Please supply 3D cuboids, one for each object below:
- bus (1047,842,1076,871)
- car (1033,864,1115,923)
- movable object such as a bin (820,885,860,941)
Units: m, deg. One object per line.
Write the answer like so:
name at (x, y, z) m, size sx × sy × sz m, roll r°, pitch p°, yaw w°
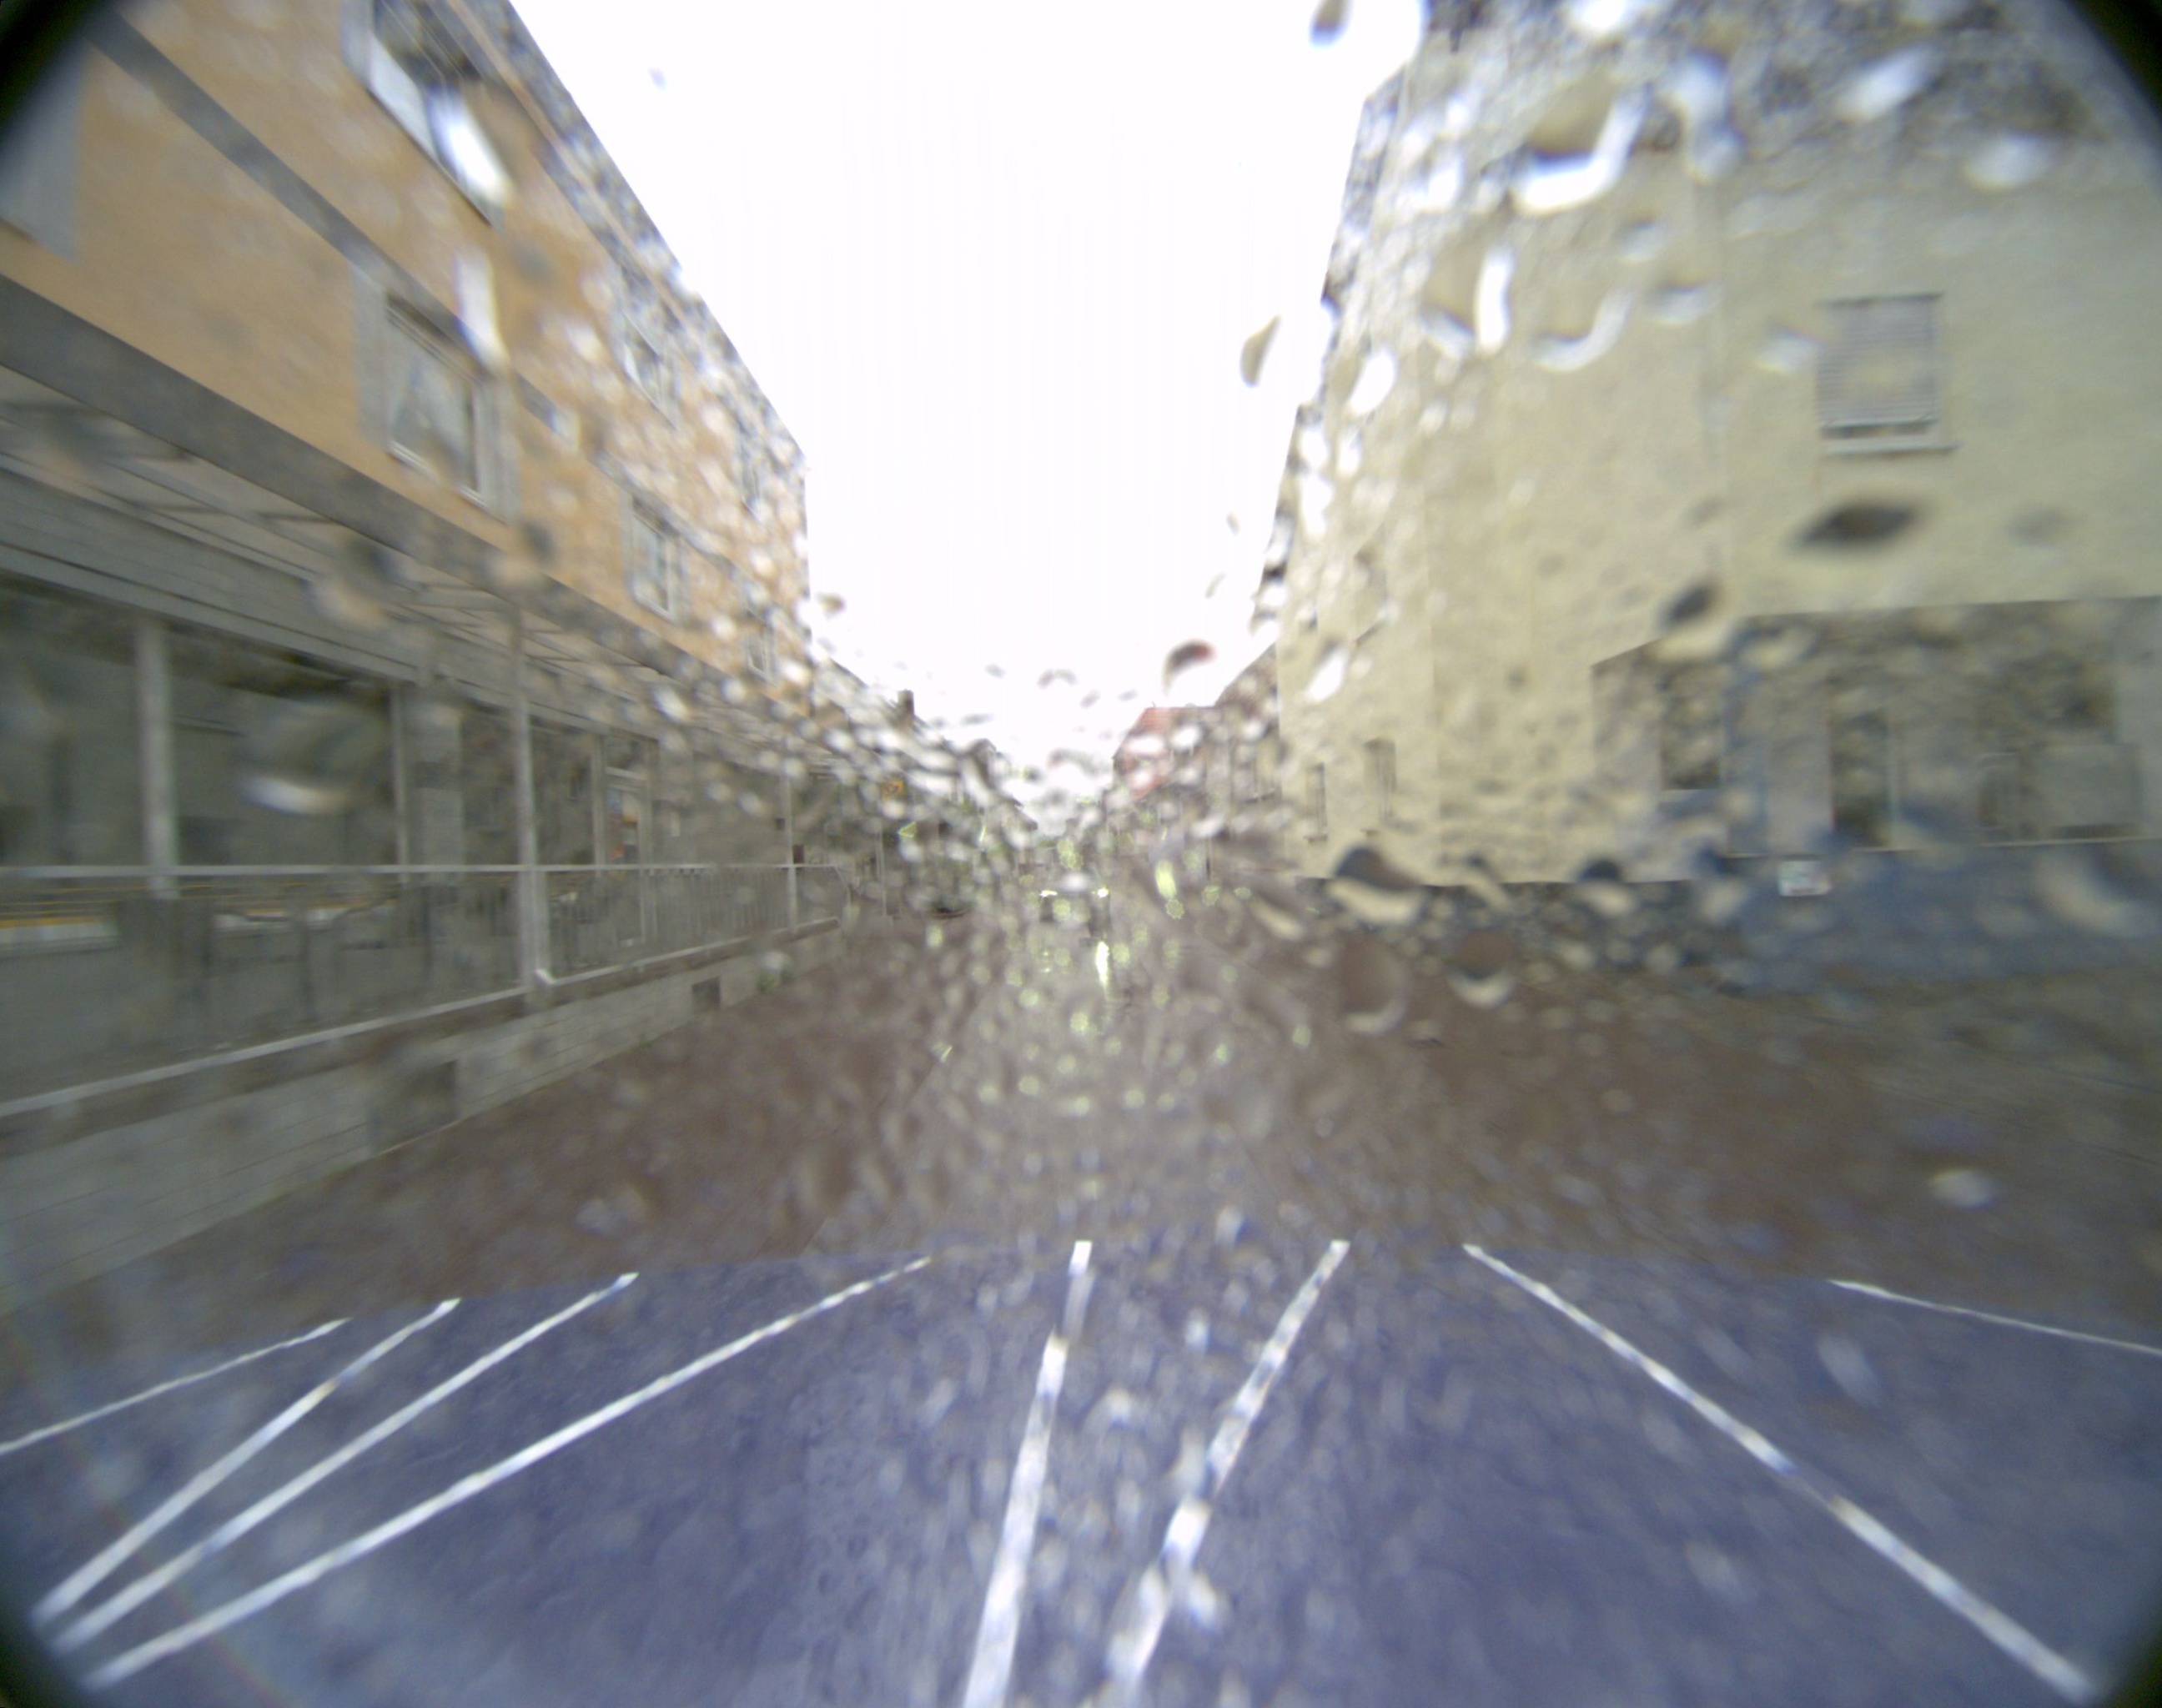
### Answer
bus at (-2.788, 0.304, 102.721) m, size 2.894 × 3.589 × 11.974 m, roll -3°, pitch 0°, yaw -6°
car at (-0.088, 0.984, 20.230) m, size 1.800 × 1.341 × 3.739 m, roll -2°, pitch 0°, yaw 4°
movable object such as a bin at (-4.871, 1.188, 15.383) m, size 0.510 × 1.075 × 0.739 m, roll -1°, pitch 0°, yaw 3°
